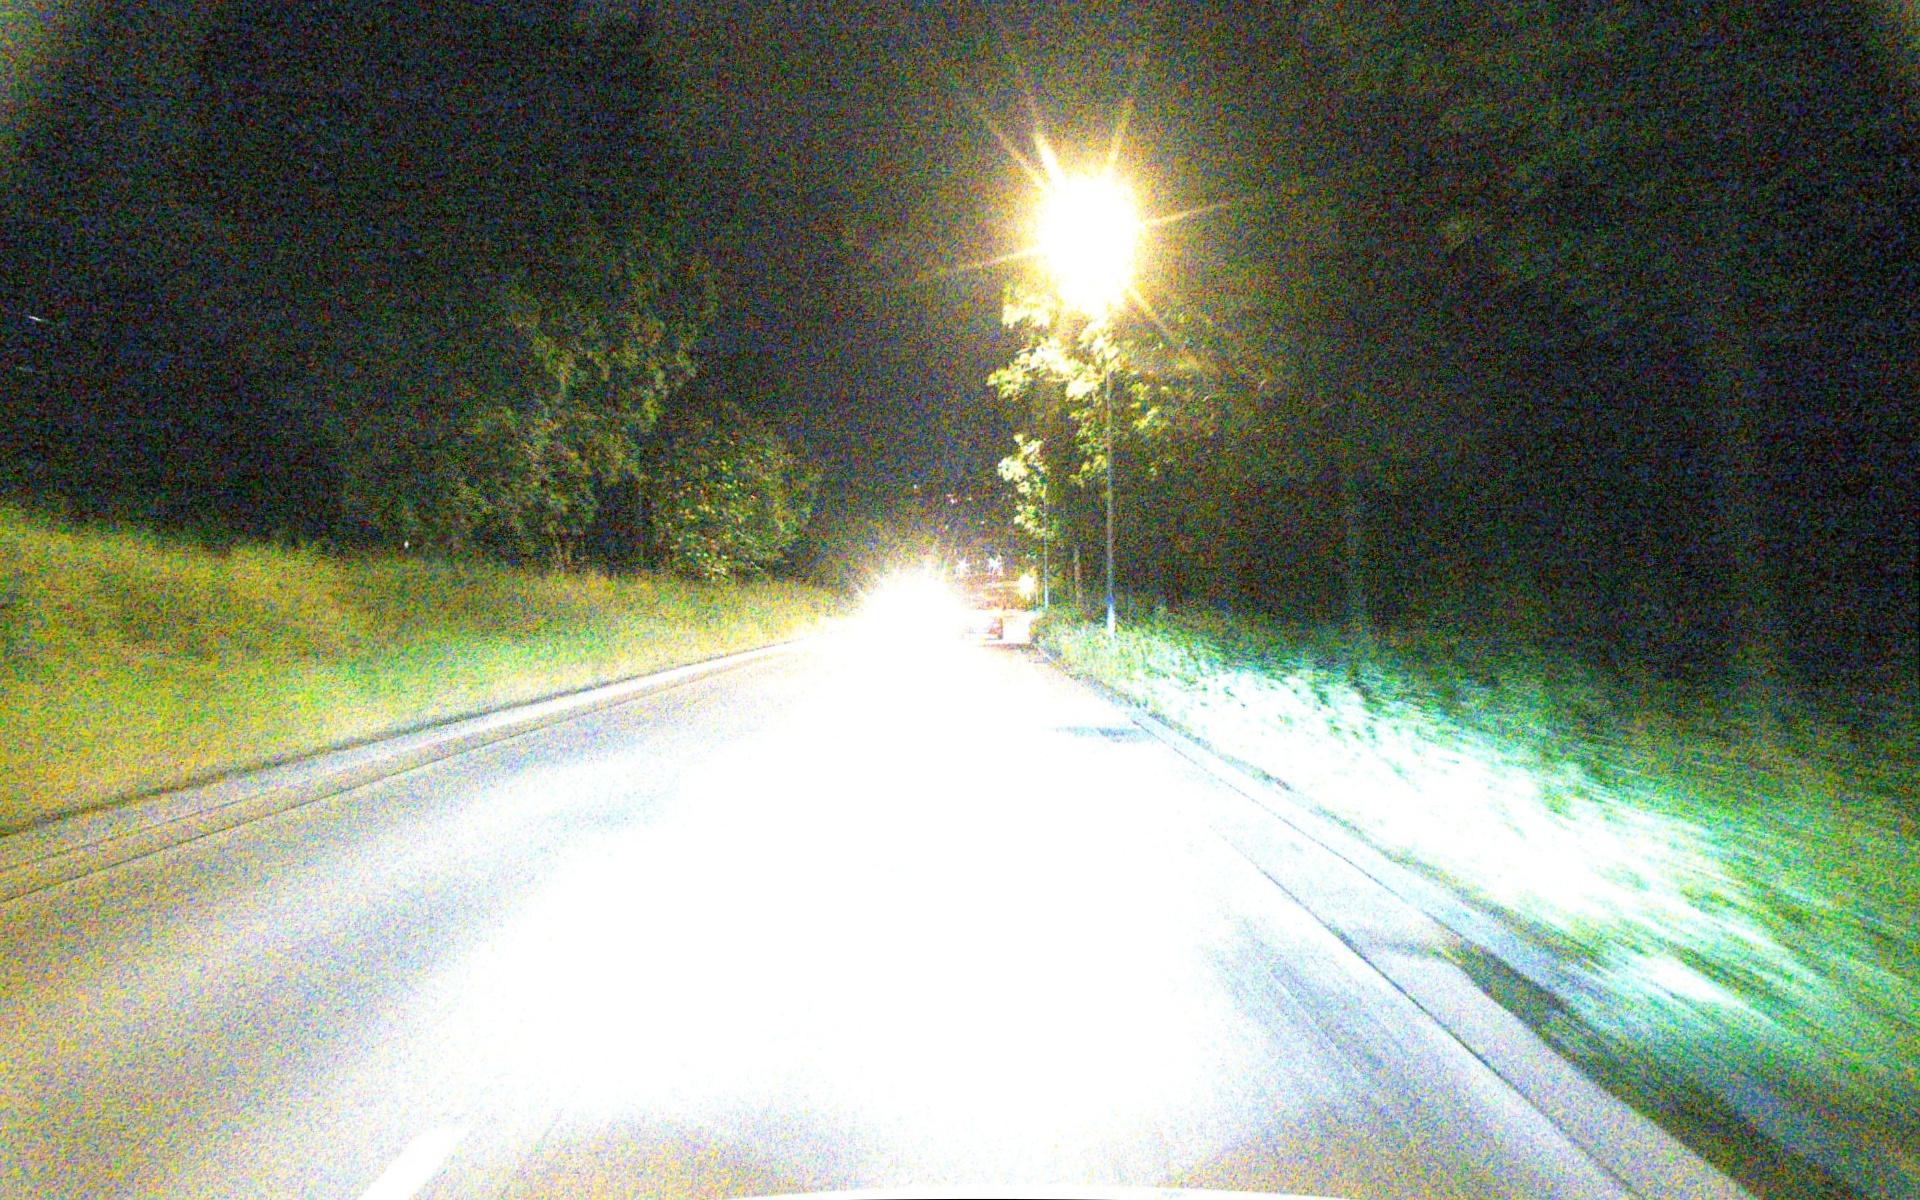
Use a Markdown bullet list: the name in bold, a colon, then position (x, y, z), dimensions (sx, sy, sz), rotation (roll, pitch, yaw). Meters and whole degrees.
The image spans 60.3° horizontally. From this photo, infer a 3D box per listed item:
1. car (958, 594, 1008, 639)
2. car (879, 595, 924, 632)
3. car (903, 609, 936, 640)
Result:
- **car**: position (0.865, 0.620, 63.537), dimensions (1.728, 1.670, 3.721), rotation (0, 0, -2)
- **car**: position (-2.391, 0.549, 68.115), dimensions (1.653, 1.483, 4.000), rotation (0, 0, 1)
- **car**: position (-2.050, 1.236, 84.651), dimensions (1.614, 1.517, 3.557), rotation (0, 0, -1)
